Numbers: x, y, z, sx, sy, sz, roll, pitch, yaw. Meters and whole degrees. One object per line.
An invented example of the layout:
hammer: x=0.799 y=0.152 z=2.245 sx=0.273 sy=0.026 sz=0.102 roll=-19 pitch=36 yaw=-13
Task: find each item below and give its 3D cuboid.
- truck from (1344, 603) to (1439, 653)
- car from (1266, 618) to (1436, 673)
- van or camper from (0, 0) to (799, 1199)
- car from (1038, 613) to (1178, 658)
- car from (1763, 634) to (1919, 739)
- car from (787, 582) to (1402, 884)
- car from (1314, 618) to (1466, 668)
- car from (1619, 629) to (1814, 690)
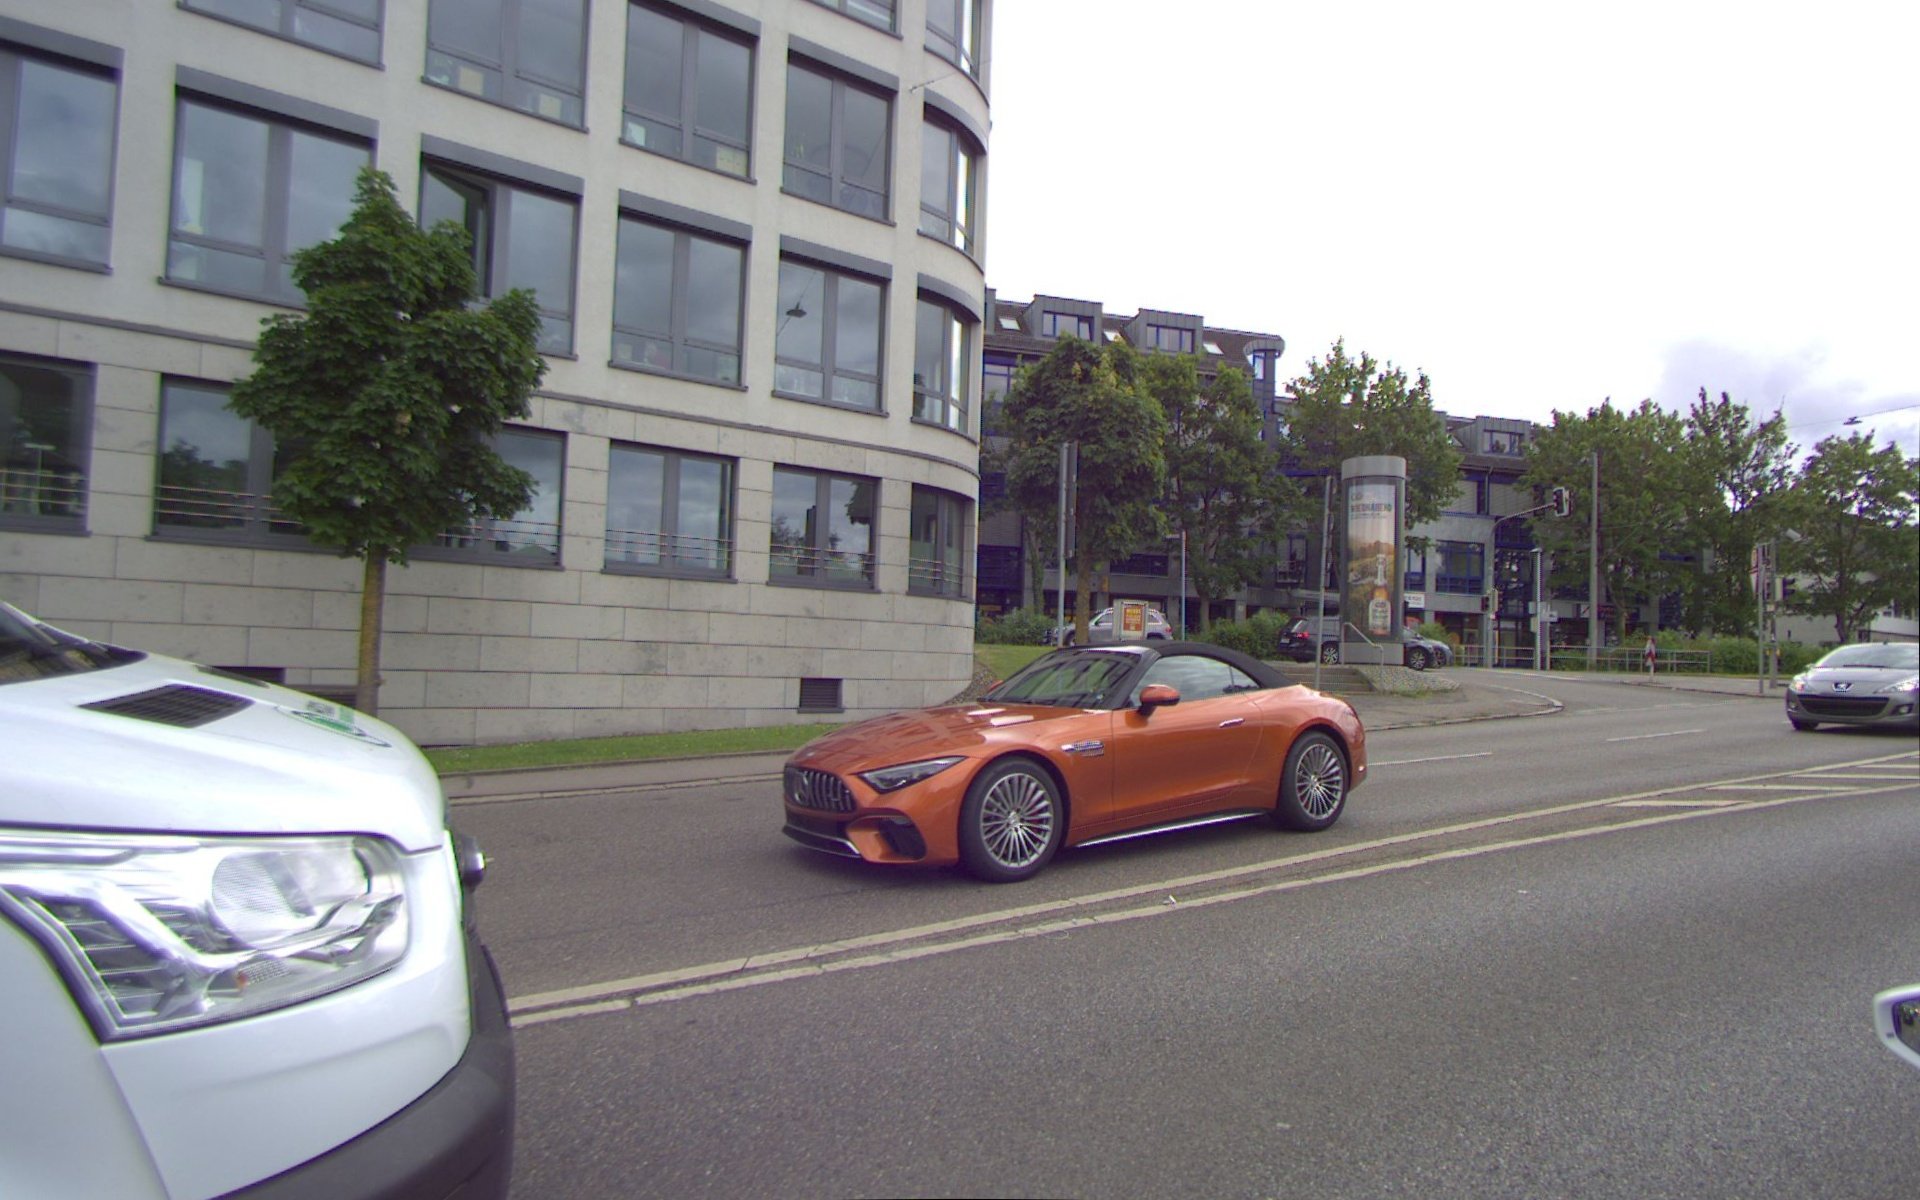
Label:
truck: x=21.742 y=1.378 z=50.656 sx=3.925 sy=2.419 sz=1.998 roll=1 pitch=0 yaw=-7
car: x=11.493 y=1.338 z=29.665 sx=4.358 sy=1.482 sz=1.780 roll=1 pitch=0 yaw=-8
van or camper: x=-3.348 y=0.112 z=0.786 sx=5.902 sy=2.697 sz=2.329 roll=3 pitch=-1 yaw=-33
car: x=5.100 y=1.224 z=34.744 sx=4.493 sy=1.482 sz=1.672 roll=1 pitch=0 yaw=-13
car: x=14.886 y=1.301 z=16.169 sx=3.933 sy=1.501 sz=1.769 roll=1 pitch=-2 yaw=-30
car: x=1.077 y=0.788 z=7.219 sx=4.238 sy=1.591 sz=1.761 roll=1 pitch=-4 yaw=-33
car: x=14.337 y=1.429 z=33.629 sx=4.358 sy=1.482 sz=1.780 roll=2 pitch=0 yaw=-8
car: x=20.835 y=1.599 z=27.815 sx=3.919 sy=1.565 sz=1.783 roll=0 pitch=-1 yaw=11
